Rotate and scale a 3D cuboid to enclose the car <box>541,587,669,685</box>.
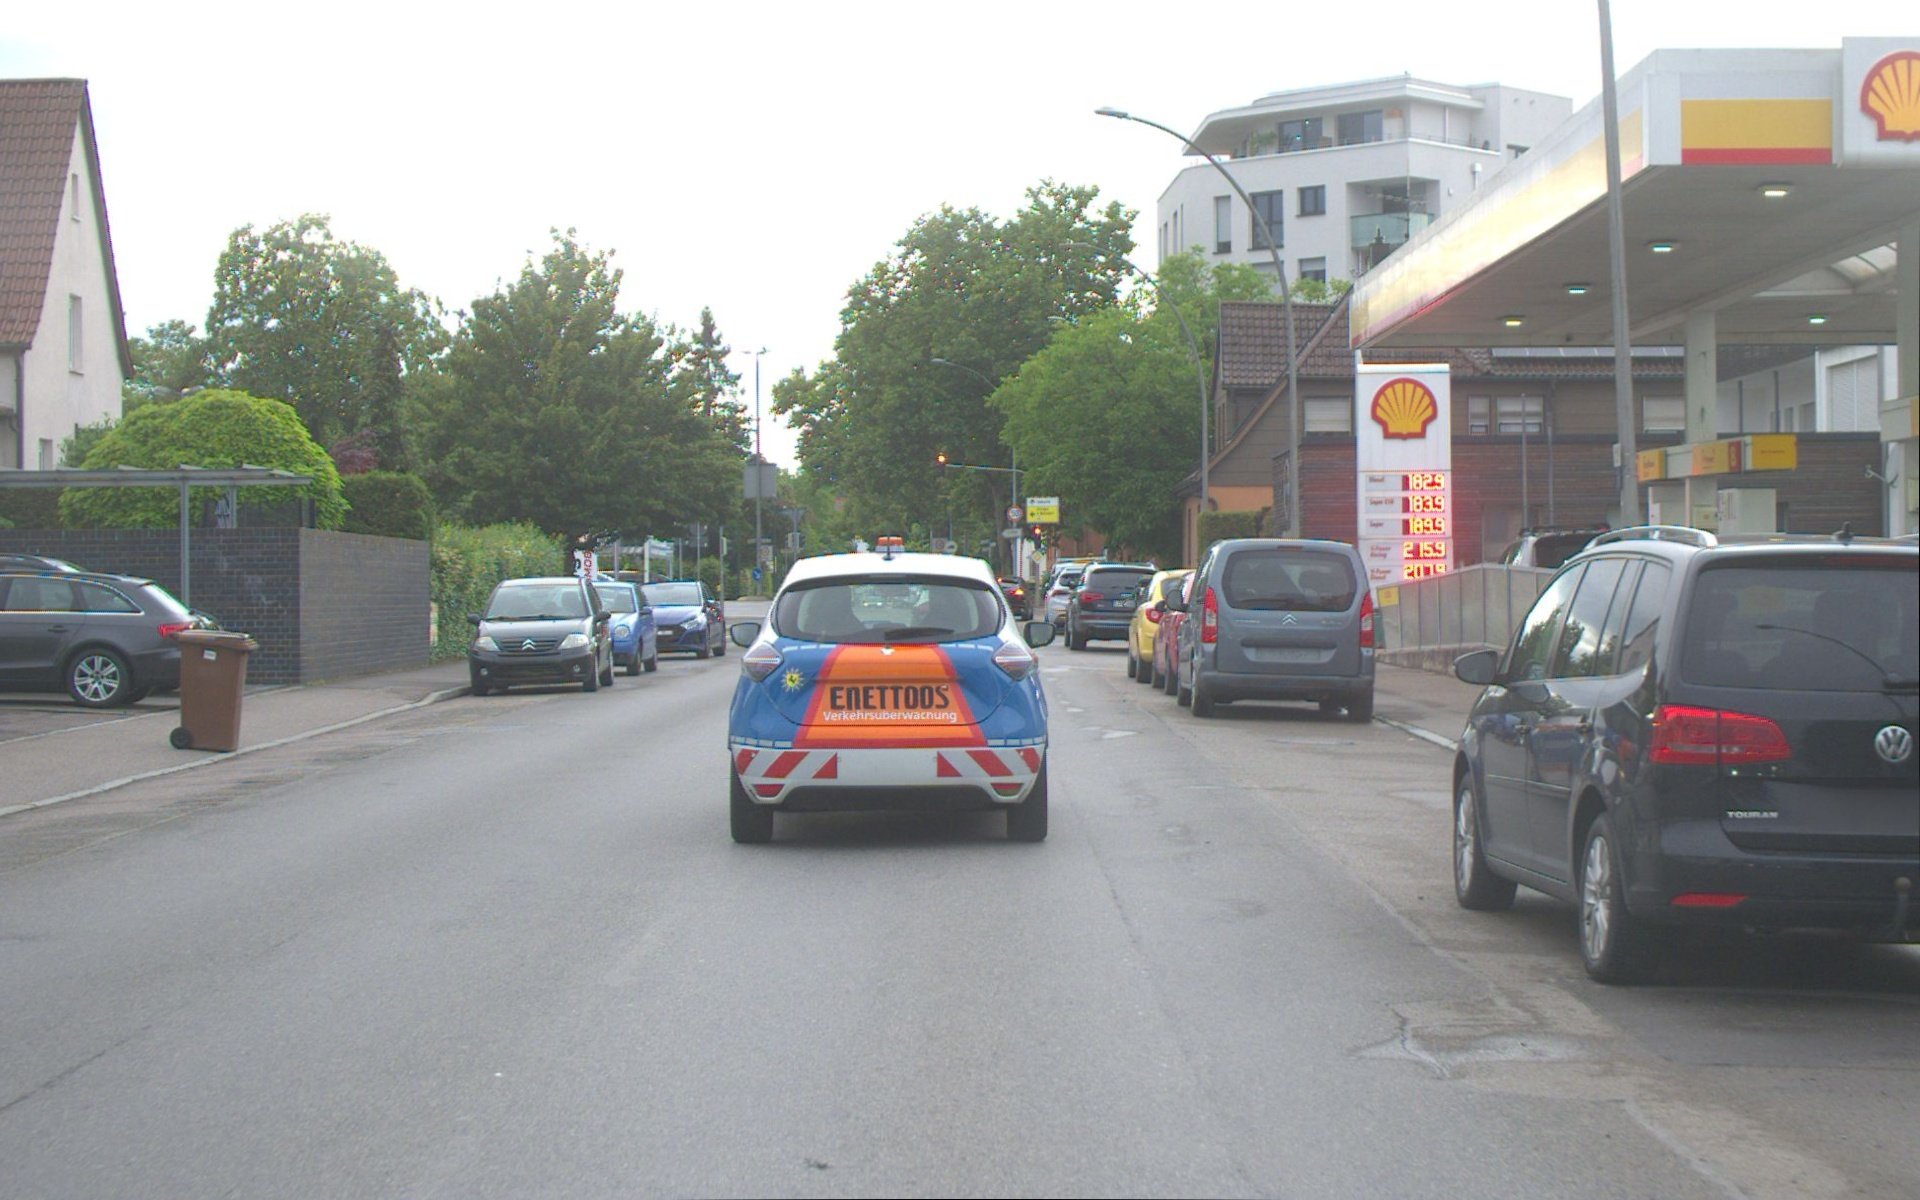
[{"bbox_3d":[-5.484,0.535,53.428,1.546,1.398,3.597,-2,0,0],"label":"car"}]

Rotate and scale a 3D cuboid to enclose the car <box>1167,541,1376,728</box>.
[{"bbox_3d":[3.125,0.313,35.233,1.656,1.732,4.444,2,0,0],"label":"car"}]

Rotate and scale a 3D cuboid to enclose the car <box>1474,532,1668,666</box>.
[{"bbox_3d":[8.432,-0.030,47.765,1.819,1.753,4.000,-1,1,-2],"label":"car"}]

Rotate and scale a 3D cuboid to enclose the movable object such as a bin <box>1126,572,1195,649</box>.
[{"bbox_3d":[3.686,0.180,63.449,1.126,1.384,1.504,-1,0,-2],"label":"movable object such as a bin"}]

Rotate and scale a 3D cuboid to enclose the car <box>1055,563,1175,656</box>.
[{"bbox_3d":[2.980,0.146,66.887,2.091,1.656,4.559,1,1,0],"label":"car"}]

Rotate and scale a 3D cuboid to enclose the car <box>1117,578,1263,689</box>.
[{"bbox_3d":[3.009,0.410,45.558,1.656,1.397,3.801,0,0,0],"label":"car"}]

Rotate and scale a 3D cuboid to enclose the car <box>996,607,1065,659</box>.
[{"bbox_3d":[2.146,1.002,105.917,1.794,1.423,4.001,1,1,-3],"label":"car"}]

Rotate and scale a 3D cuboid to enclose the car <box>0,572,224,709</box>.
[{"bbox_3d":[-10.055,0.416,36.843,4.083,1.409,1.714,1,1,-7],"label":"car"}]

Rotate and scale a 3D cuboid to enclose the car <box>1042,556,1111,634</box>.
[{"bbox_3d":[3.206,-0.165,93.919,1.778,2.022,4.753,1,1,3],"label":"car"}]

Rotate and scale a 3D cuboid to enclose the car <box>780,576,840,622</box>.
[{"bbox_3d":[-4.804,-0.048,110.253,1.626,1.428,3.683,-1,0,2],"label":"car"}]

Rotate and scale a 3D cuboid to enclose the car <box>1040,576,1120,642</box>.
[{"bbox_3d":[3.042,0.212,88.037,1.865,1.659,4.320,0,0,0],"label":"car"}]

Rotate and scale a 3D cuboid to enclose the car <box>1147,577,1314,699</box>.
[{"bbox_3d":[3.180,0.422,41.095,1.656,1.372,4.025,0,0,0],"label":"car"}]

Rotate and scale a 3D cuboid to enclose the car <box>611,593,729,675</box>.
[{"bbox_3d":[-5.376,0.612,64.040,1.807,1.398,3.944,-2,0,0],"label":"car"}]

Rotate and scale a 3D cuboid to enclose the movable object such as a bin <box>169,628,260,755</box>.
[{"bbox_3d":[-6.696,0.817,30.911,0.595,1.053,0.687,4,2,0],"label":"movable object such as a bin"}]

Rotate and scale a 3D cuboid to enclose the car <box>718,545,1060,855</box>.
[{"bbox_3d":[-0.365,0.487,19.785,1.746,1.575,4.000,-1,1,0],"label":"car"}]

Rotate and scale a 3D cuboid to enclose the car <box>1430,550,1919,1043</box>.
[{"bbox_3d":[3.142,0.620,13.367,1.993,1.590,4.000,-1,1,-1],"label":"car"}]

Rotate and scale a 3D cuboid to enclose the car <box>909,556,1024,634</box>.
[{"bbox_3d":[0.175,-0.129,73.966,1.994,1.568,3.999,1,1,7],"label":"car"}]

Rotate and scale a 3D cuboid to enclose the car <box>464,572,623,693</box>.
[{"bbox_3d":[-5.491,0.401,45.672,1.608,1.501,3.707,-2,0,0],"label":"car"}]
